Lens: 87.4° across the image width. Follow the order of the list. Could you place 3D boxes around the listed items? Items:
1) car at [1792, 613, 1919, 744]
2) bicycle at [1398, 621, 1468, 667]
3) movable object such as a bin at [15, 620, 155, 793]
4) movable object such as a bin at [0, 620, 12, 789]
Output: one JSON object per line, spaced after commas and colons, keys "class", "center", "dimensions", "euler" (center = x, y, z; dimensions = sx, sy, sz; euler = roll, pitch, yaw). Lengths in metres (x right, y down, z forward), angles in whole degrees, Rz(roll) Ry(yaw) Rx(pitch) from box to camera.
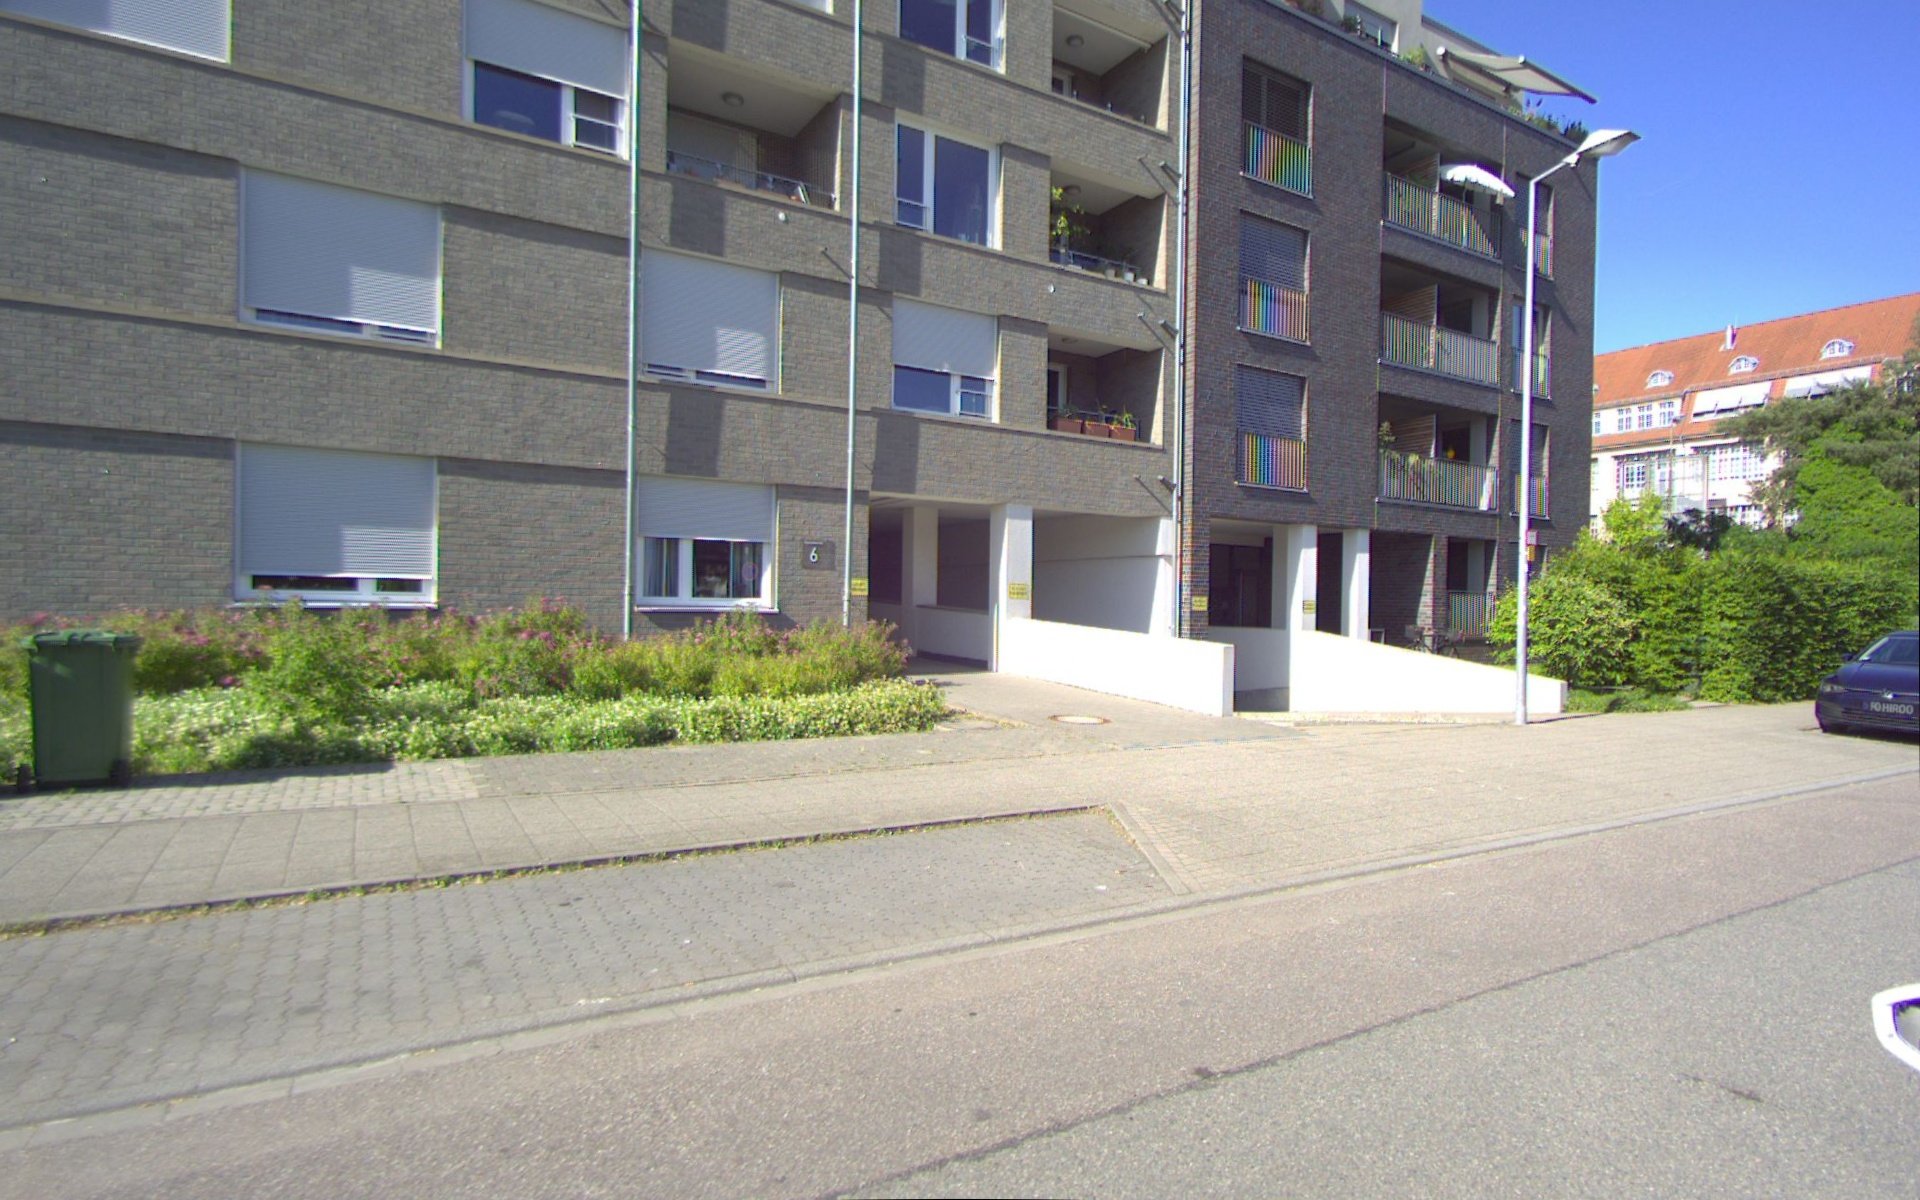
{"class": "car", "center": [13.499, 1.050, 13.794], "dimensions": [3.950, 1.548, 1.754], "euler": [2, 2, -28]}
{"class": "bicycle", "center": [9.244, 0.846, 19.601], "dimensions": [1.752, 0.849, 0.252], "euler": [0, 0, -28]}
{"class": "movable object such as a bin", "center": [-5.977, 0.693, 6.897], "dimensions": [0.629, 1.098, 0.604], "euler": [0, 0, -32]}
{"class": "movable object such as a bin", "center": [-6.565, 0.687, 6.416], "dimensions": [0.629, 1.105, 0.604], "euler": [0, 0, -32]}
